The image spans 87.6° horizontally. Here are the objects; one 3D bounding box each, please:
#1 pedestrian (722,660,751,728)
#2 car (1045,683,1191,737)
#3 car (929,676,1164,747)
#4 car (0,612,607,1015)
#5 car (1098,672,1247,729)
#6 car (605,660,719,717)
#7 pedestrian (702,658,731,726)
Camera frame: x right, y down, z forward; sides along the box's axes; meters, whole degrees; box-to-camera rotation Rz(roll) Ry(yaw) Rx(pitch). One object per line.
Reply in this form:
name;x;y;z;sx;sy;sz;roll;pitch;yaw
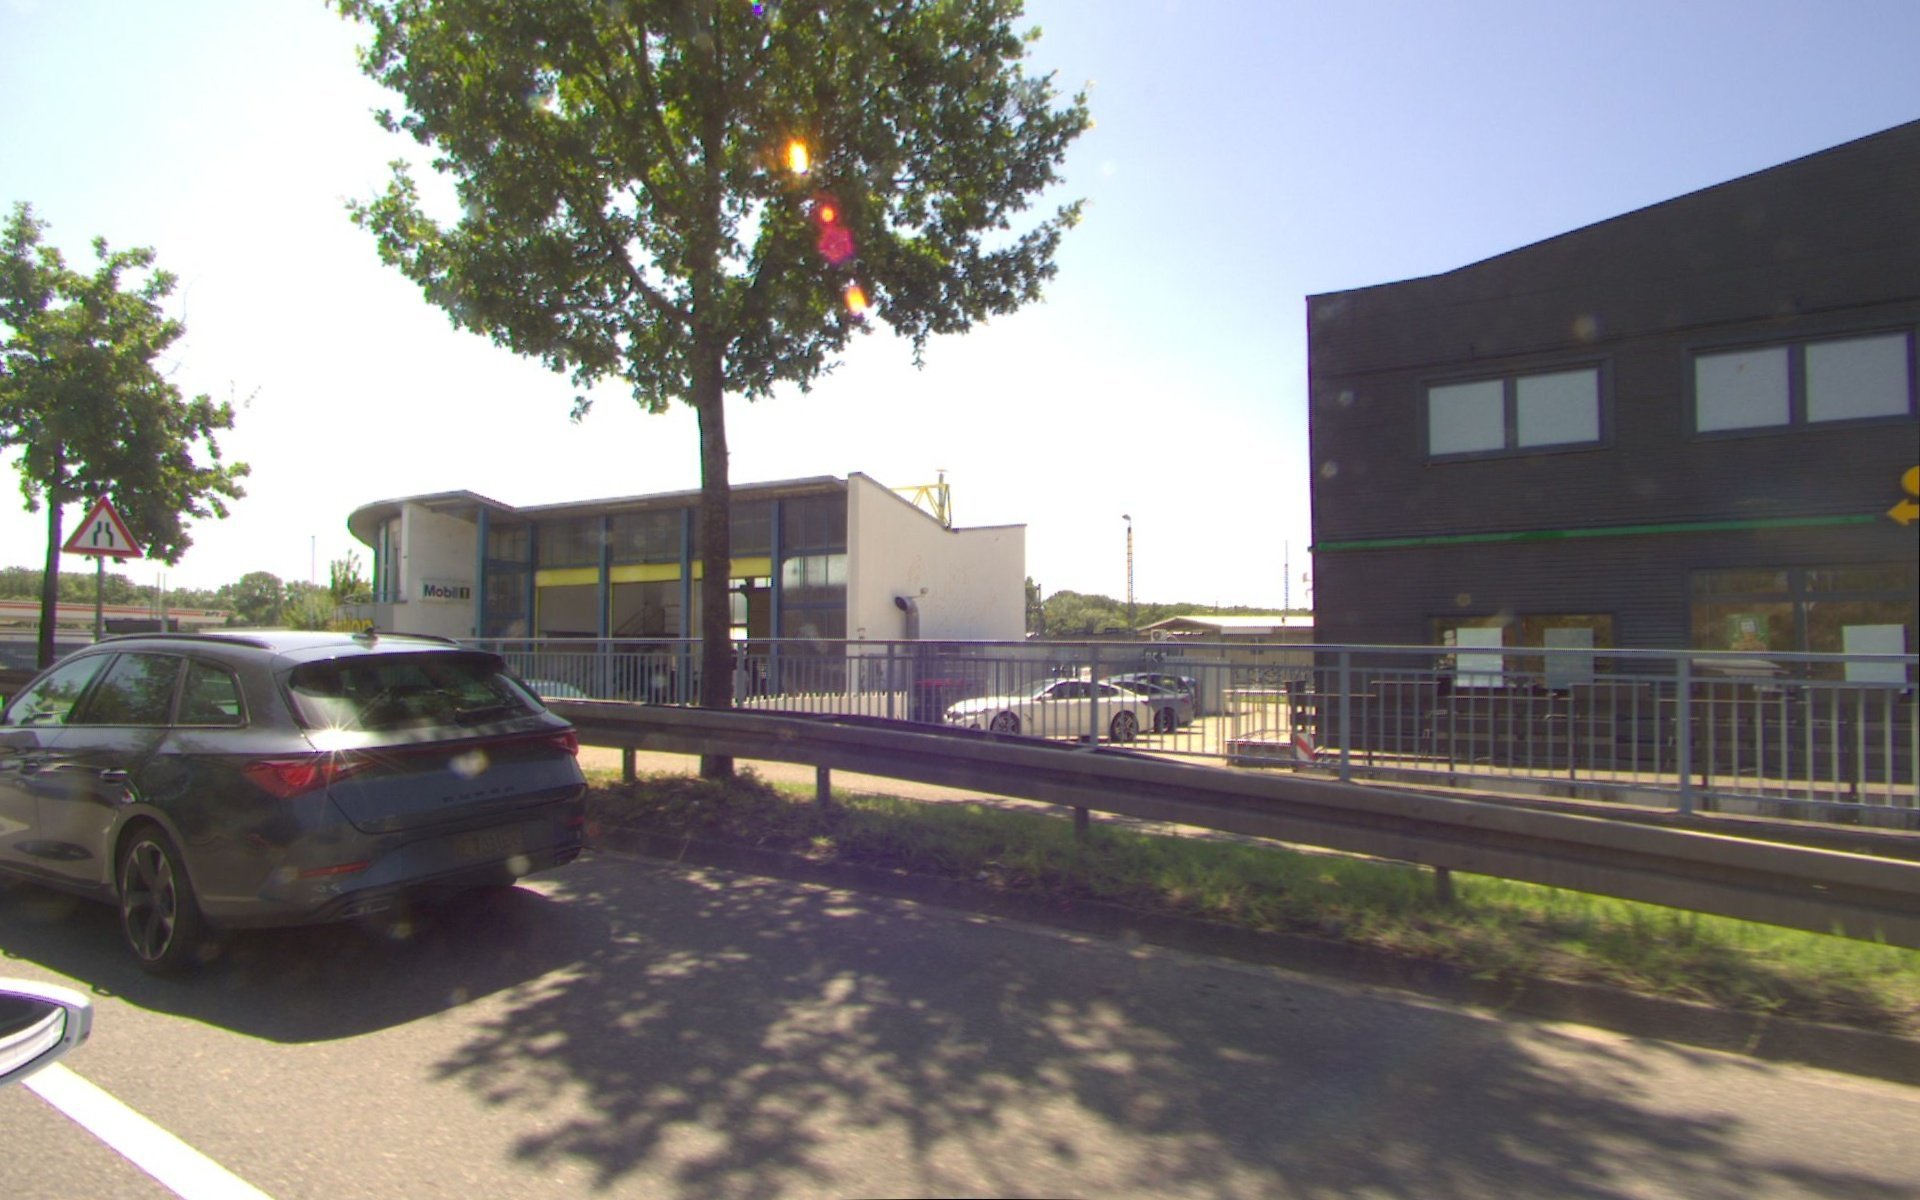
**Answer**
pedestrian;-5.704;2.387;25.558;0.580;1.724;0.426;-1;-2;28
car;4.166;2.874;26.522;3.548;1.269;1.478;1;-2;-15
car;1.969;2.465;22.729;5.001;1.375;1.994;1;-2;-23
car;-3.986;0.859;5.447;4.173;1.474;1.603;-1;-3;31
car;6.547;3.042;30.765;4.328;1.578;1.651;1;-2;-23
car;-9.725;2.850;32.977;1.623;1.705;3.671;-1;-3;23
pedestrian;-6.283;2.367;25.860;0.481;1.724;0.521;-1;-2;29
